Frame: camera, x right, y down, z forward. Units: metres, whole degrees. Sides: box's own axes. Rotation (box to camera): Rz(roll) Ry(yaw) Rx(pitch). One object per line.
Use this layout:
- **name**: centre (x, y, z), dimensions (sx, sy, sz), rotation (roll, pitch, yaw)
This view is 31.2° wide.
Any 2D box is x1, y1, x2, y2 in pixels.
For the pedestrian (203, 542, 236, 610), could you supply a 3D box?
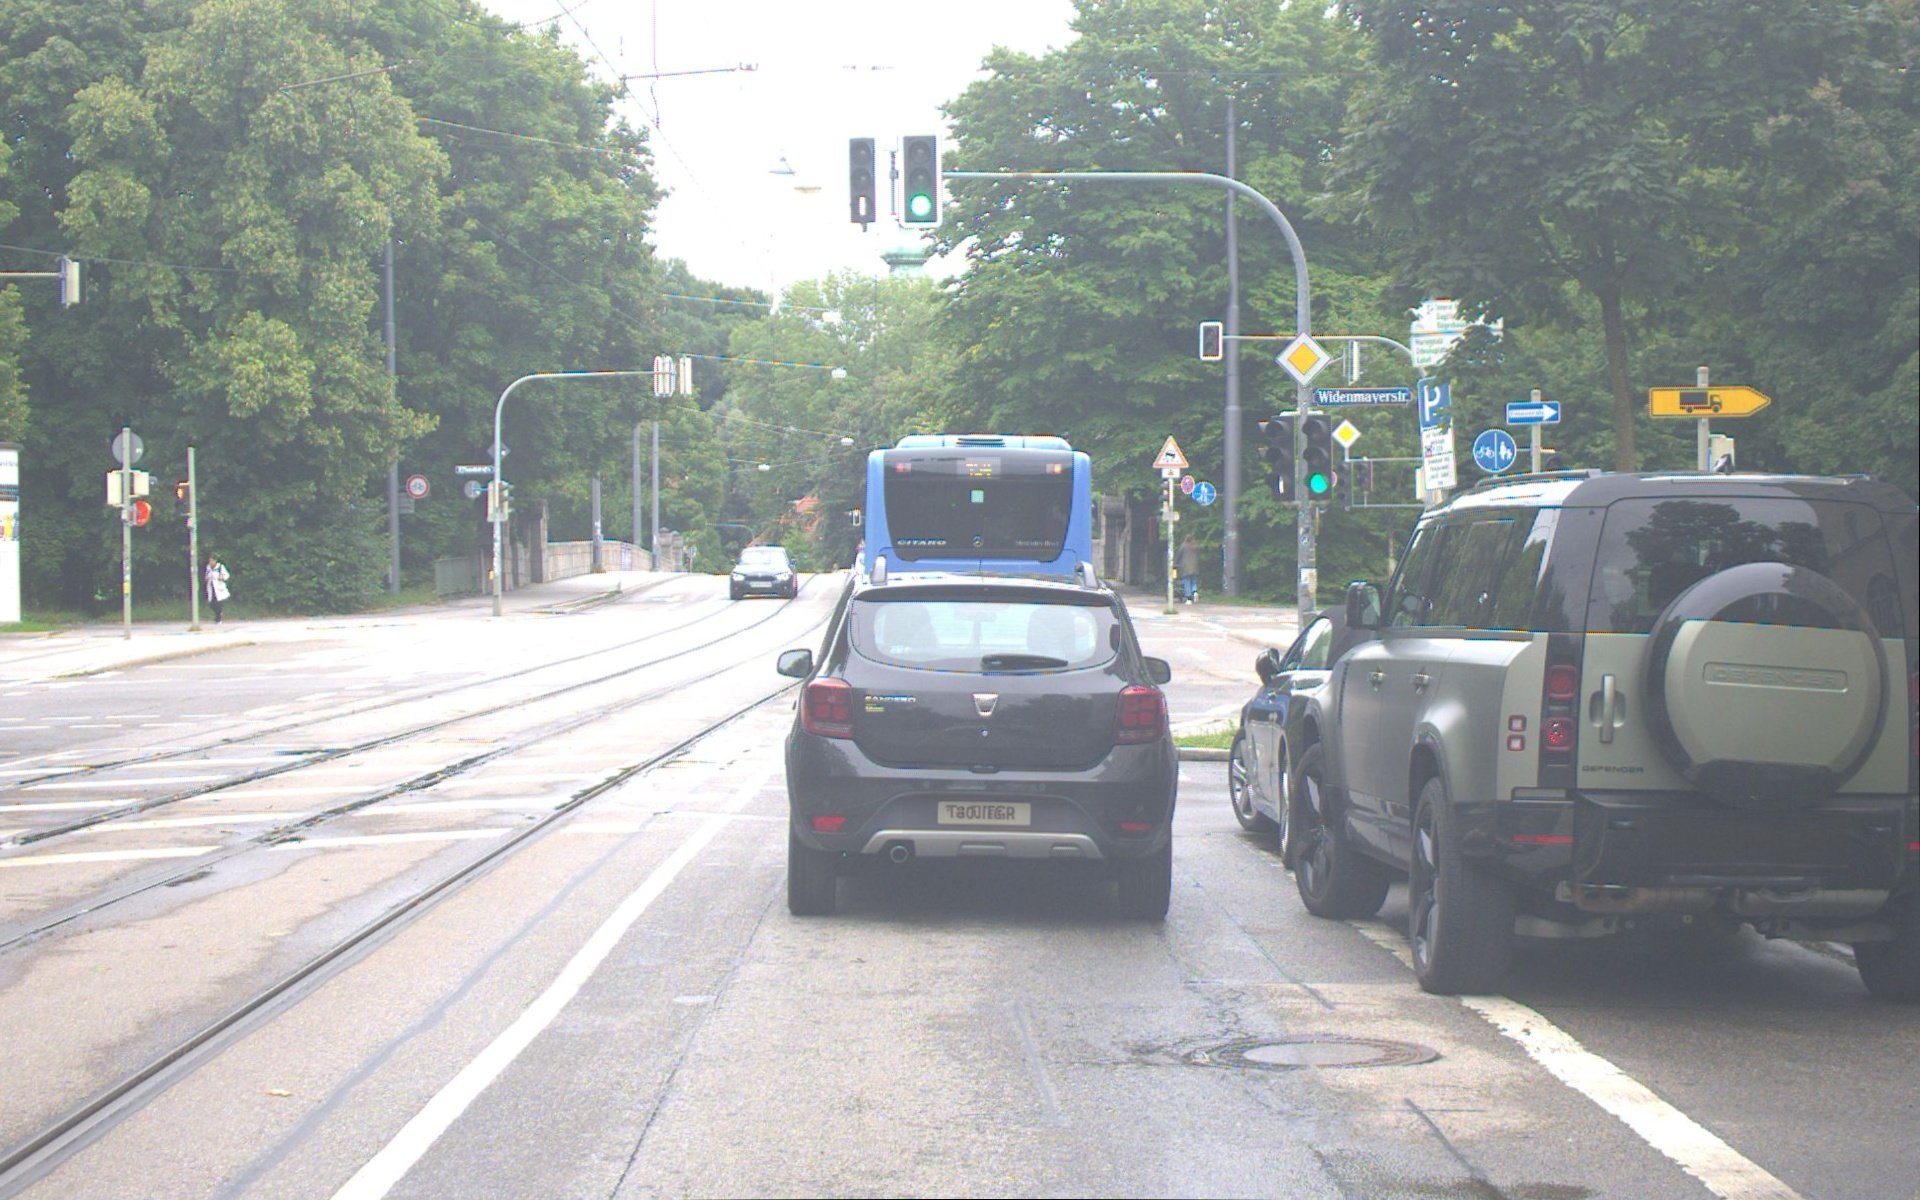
- **pedestrian**: centre (-16.453, -0.528, 76.404), dimensions (0.532, 1.496, 0.588), rotation (2, 0, 4)

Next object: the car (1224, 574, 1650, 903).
- **car**: centre (2.531, 0.676, 19.200), dimensions (1.714, 1.586, 4.327), rotation (2, 0, 0)

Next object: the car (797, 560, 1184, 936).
- **car**: centre (0.101, 0.619, 16.337), dimensions (1.600, 1.551, 3.525), rotation (2, 0, -1)

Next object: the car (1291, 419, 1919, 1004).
- **car**: centre (2.644, 0.364, 13.769), dimensions (1.914, 1.899, 4.808), rotation (2, 0, -3)

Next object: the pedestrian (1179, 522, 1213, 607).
- **pedestrian**: centre (5.926, -0.898, 86.383), dimensions (0.762, 2.109, 0.853), rotation (0, 1, 0)

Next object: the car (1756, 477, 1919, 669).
- **car**: centre (14.217, -0.333, 48.590), dimensions (5.295, 2.604, 2.231), rotation (2, 0, -3)

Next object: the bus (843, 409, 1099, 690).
- **bus**: centre (0.004, -0.567, 40.915), dimensions (2.678, 2.987, 6.961), rotation (2, 0, -2)

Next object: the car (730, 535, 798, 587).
- **car**: centre (-5.477, -1.080, 96.290), dimensions (1.787, 1.365, 3.400), rotation (2, 0, -2)
